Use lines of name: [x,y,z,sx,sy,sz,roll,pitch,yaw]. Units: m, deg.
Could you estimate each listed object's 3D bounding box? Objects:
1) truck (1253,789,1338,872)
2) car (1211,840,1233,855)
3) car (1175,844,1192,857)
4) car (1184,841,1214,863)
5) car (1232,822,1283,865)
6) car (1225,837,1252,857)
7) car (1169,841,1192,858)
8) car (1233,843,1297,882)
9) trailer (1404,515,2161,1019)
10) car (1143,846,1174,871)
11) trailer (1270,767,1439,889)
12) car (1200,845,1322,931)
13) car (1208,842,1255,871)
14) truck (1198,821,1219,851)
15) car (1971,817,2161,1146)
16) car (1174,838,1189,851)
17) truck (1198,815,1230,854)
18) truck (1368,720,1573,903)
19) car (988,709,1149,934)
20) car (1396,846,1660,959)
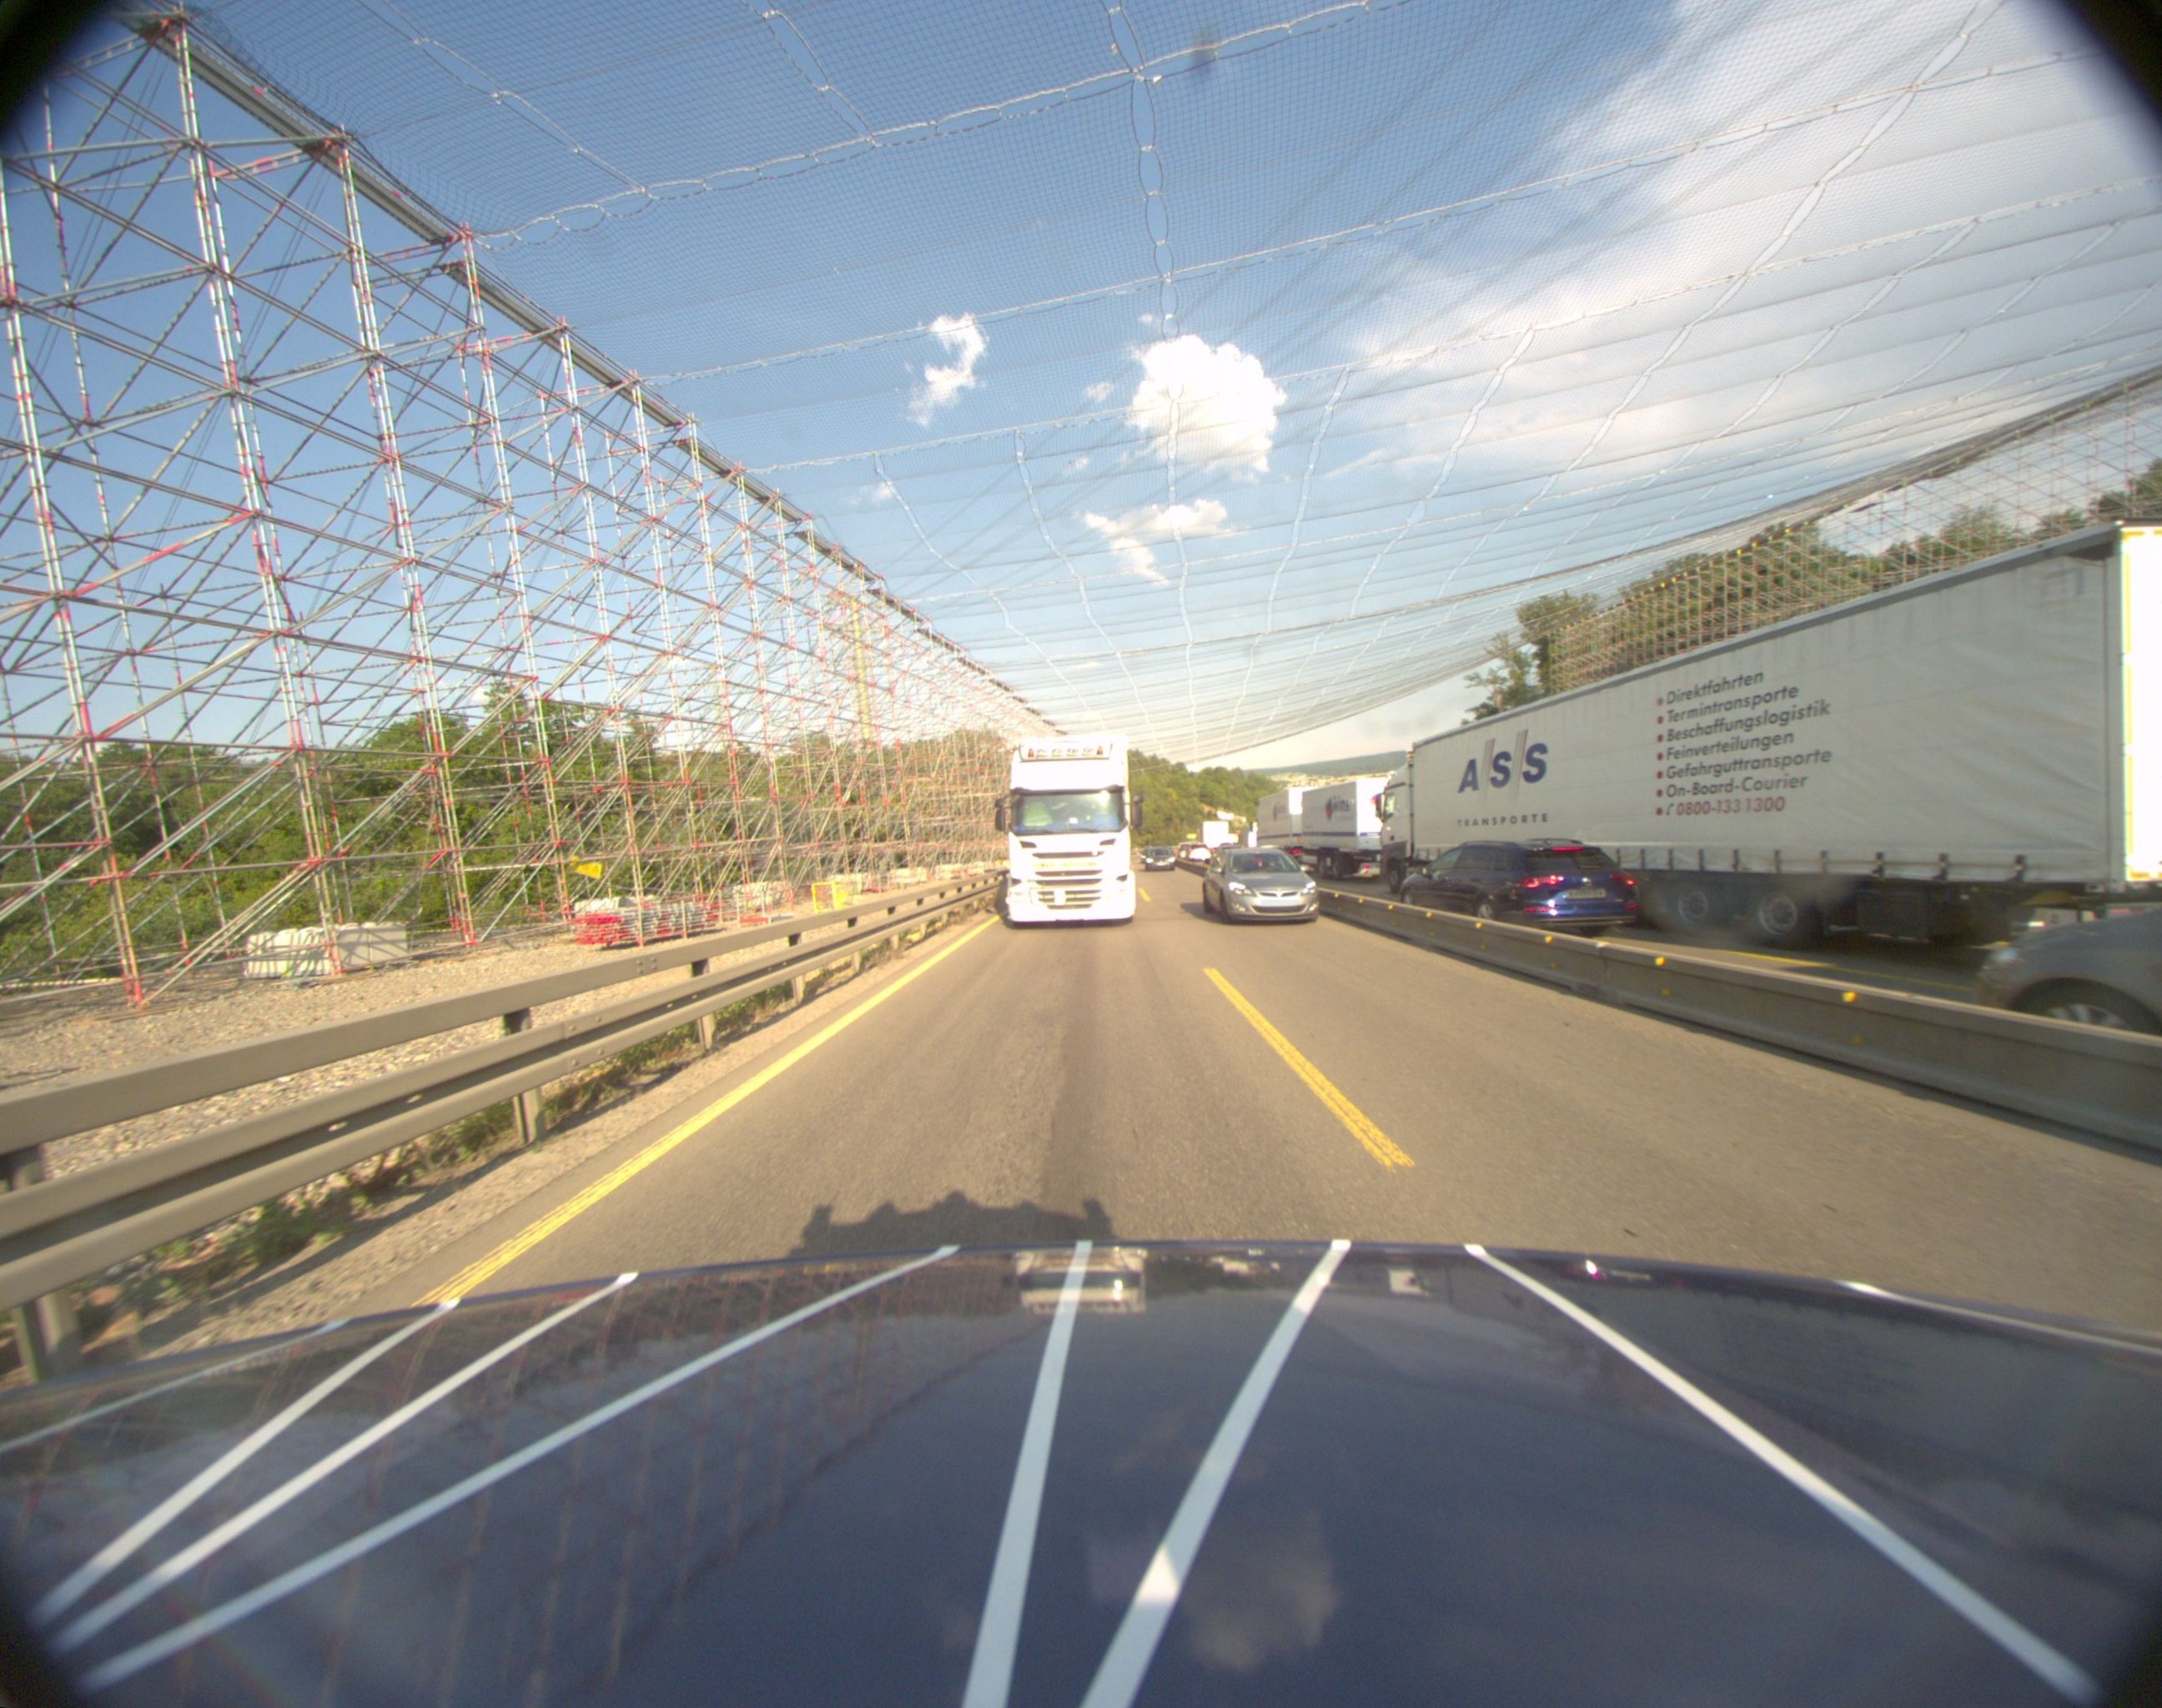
truck: [11.072,-1.172,39.926,2.637,3.888,7.205,-2,1,3]
car: [14.652,-0.691,79.297,1.796,1.531,4.910,-2,1,6]
car: [12.311,-0.439,91.391,1.812,1.411,4.519,-2,1,5]
car: [9.096,-0.213,58.825,1.812,1.559,4.366,-2,1,2]
car: [12.171,-0.743,52.867,2.246,2.697,7.083,-2,1,4]
car: [14.260,-0.655,69.045,1.827,1.717,4.938,-2,1,5]
car: [9.641,-0.456,74.031,1.812,1.559,4.366,-2,1,2]
car: [7.228,0.286,30.130,1.611,1.368,3.900,-2,1,1]
trailer: [9.707,-0.822,12.984,2.433,3.940,14.096,-2,1,1]
car: [4.676,0.214,46.319,1.764,1.376,3.823,-2,1,4]
trailer: [10.847,-0.986,32.193,2.676,3.993,13.332,-2,1,2]
car: [3.551,0.583,15.713,1.759,1.464,4.353,-2,1,4]
car: [8.227,0.085,41.974,1.782,1.442,4.663,-2,1,2]
truck: [20.887,-2.896,125.584,2.992,4.533,17.415,-2,1,9]
car: [6.104,0.611,2.475,1.755,1.578,3.941,-2,1,-1]
car: [14.652,-1.418,110.870,1.812,1.858,5.283,-2,1,5]
truck: [15.688,-2.298,90.294,2.727,4.203,14.172,-2,1,6]
truck: [9.815,-0.988,19.888,2.479,4.023,5.616,-2,1,1]
car: [-0.050,-0.670,18.300,2.858,4.092,8.280,-2,1,3]
car: [6.706,0.619,12.029,1.798,1.390,4.243,-2,1,3]
